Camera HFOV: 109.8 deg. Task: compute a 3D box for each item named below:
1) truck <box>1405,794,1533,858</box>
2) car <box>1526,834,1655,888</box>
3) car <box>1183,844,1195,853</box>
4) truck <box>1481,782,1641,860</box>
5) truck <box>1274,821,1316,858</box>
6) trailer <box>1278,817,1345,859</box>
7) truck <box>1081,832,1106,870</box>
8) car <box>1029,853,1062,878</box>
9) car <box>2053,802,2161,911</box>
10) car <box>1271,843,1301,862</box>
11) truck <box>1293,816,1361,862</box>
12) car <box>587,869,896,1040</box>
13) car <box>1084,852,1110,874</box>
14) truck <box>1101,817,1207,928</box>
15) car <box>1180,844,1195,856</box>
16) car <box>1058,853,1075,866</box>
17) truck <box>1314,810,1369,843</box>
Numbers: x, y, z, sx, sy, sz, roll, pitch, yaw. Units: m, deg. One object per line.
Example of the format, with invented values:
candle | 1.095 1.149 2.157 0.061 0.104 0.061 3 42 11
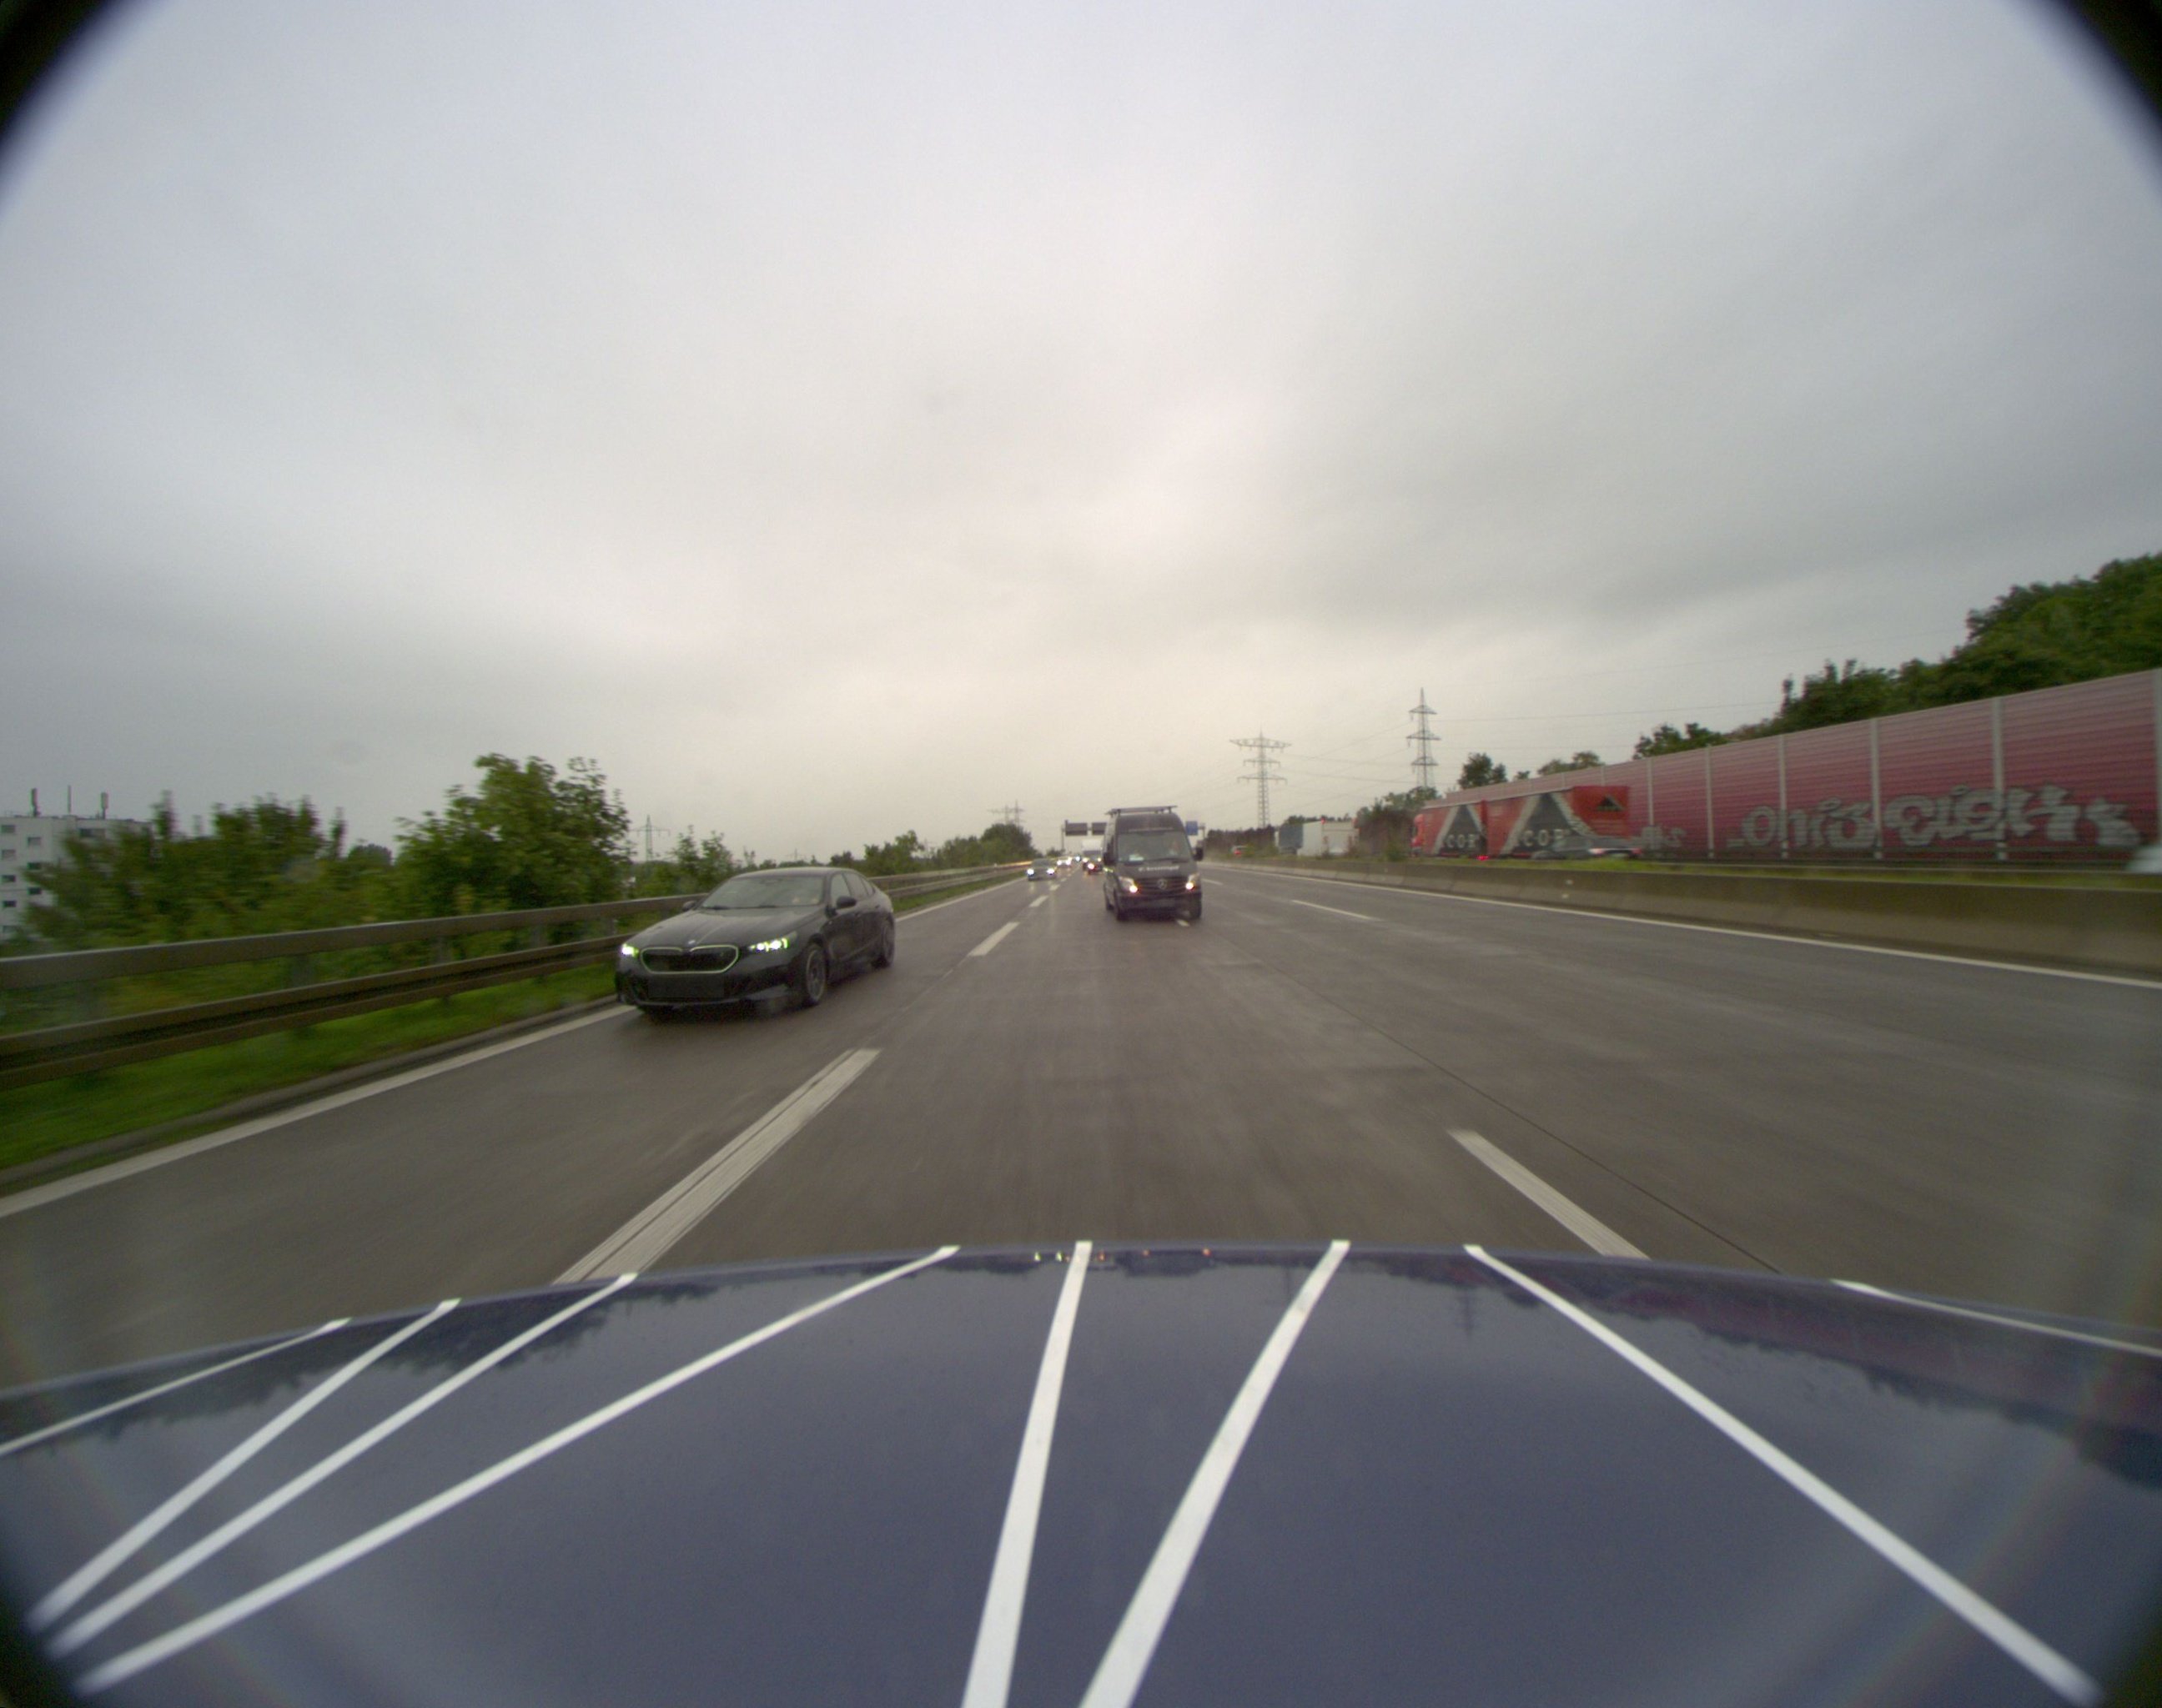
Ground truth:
truck | 24.224 -1.611 48.342 2.787 3.470 10.617 -2 0 1
car | 19.782 0.247 29.763 1.999 1.848 4.389 -2 0 -1
car | 23.466 -1.201 164.760 1.998 2.002 5.133 -3 0 2
truck | 24.044 -1.521 38.774 2.787 3.470 8.493 -2 0 1
truck | 25.205 -1.716 89.691 3.053 4.004 6.051 -4 0 1
trailer | 25.090 -1.676 83.723 3.053 4.004 14.125 -4 0 1
truck | 1.274 -0.314 75.863 2.392 3.657 4.987 -1 0 1
car | -2.461 0.771 53.559 1.998 1.706 4.000 -1 0 1
car | 19.311 0.010 11.511 1.999 1.848 5.540 -2 0 -1
car | 21.656 -0.151 80.289 1.998 1.848 4.389 -2 0 1
truck | 16.837 -0.969 52.534 2.272 2.812 7.279 -4 0 1
car | -3.767 1.005 9.392 1.862 1.531 4.203 -2 0 0
car | 1.292 0.692 60.678 1.998 1.706 4.000 -1 0 1
truck | 1.658 0.374 19.523 1.999 2.324 6.110 -2 1 -1
car | 19.988 -0.778 142.755 1.998 2.002 4.791 -3 0 1
car | -1.916 0.688 100.070 1.998 1.706 4.000 -1 0 1
truck | 29.450 -3.012 86.374 2.948 3.229 9.378 -4 0 1
